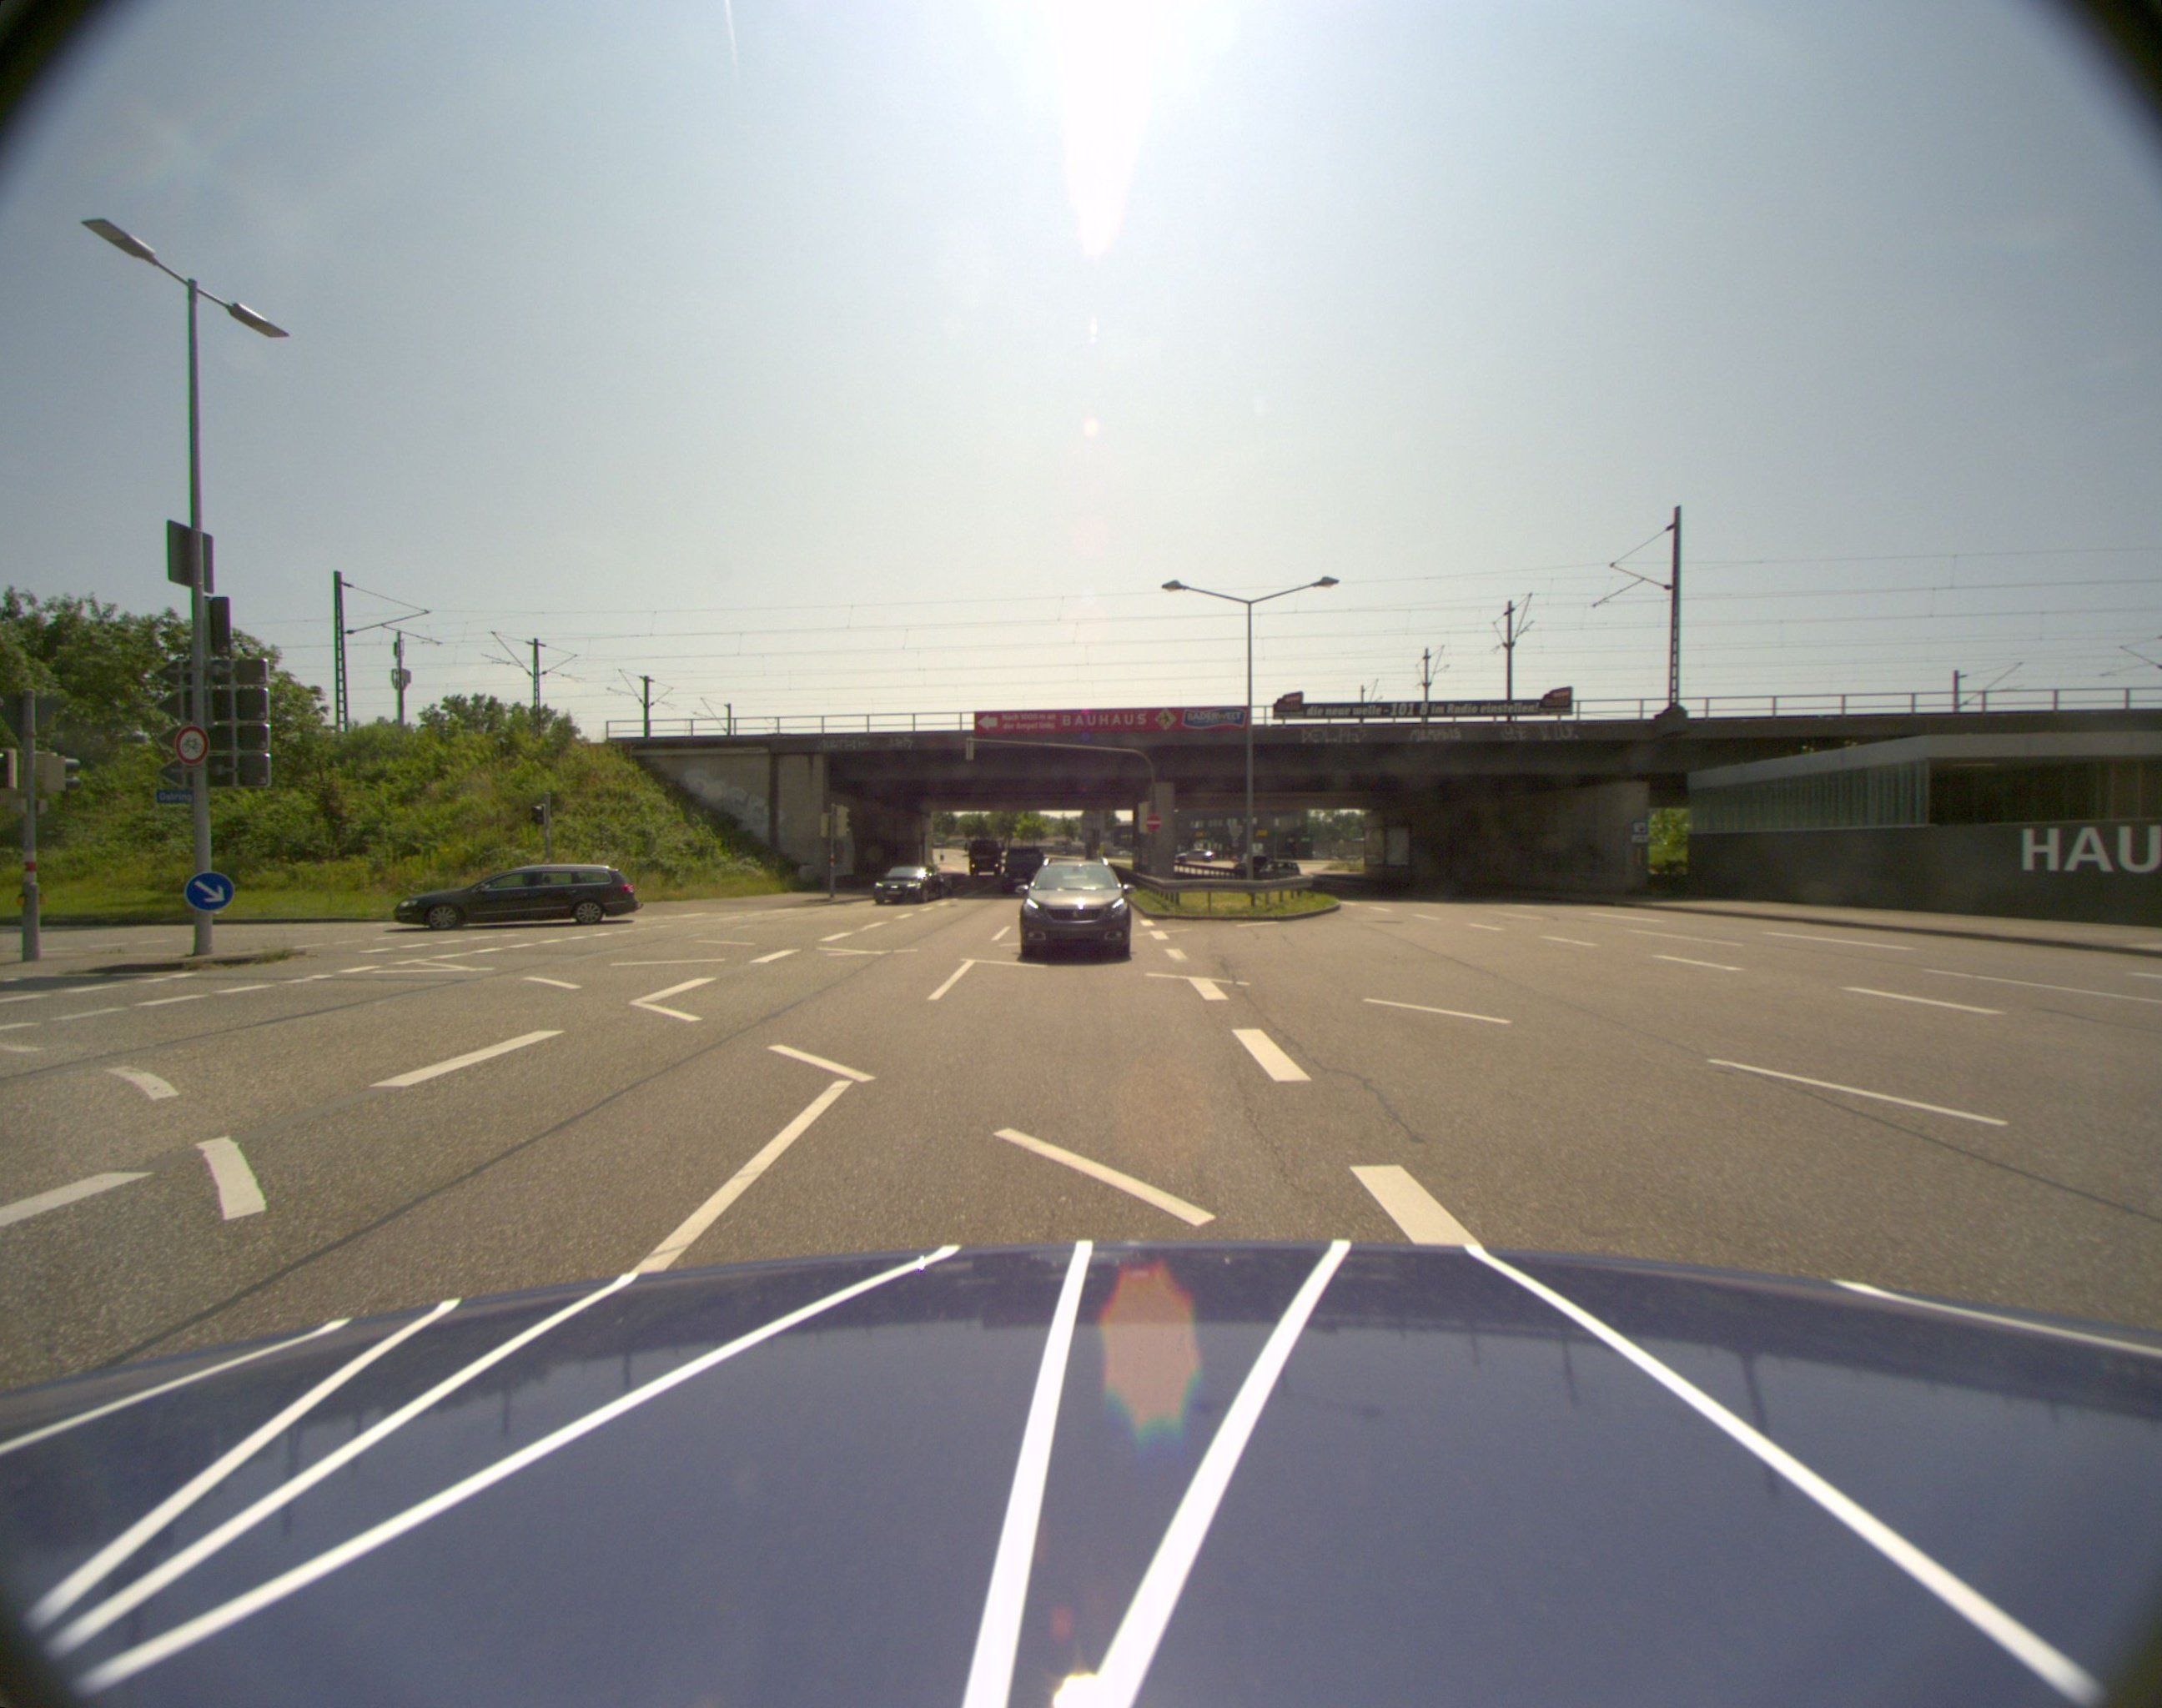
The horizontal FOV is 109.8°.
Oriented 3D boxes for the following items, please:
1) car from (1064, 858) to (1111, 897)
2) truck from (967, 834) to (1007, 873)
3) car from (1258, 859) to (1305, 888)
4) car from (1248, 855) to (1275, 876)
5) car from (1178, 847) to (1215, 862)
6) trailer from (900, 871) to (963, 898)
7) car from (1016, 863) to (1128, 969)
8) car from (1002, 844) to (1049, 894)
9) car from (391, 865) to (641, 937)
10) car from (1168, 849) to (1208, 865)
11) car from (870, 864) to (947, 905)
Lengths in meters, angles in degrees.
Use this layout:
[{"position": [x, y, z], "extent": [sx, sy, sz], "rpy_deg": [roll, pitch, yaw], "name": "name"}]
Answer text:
[{"position": [0.233, 0.928, 31.087], "extent": [1.817, 1.456, 3.999], "rpy_deg": [0, 0, -1], "name": "car"}, {"position": [-7.486, -0.035, 60.630], "extent": [2.887, 2.899, 8.511], "rpy_deg": [-1, 0, -7], "name": "truck"}, {"position": [10.942, 1.037, 41.660], "extent": [1.710, 1.442, 3.373], "rpy_deg": [0, 0, 1], "name": "car"}, {"position": [13.565, 0.834, 57.287], "extent": [1.709, 1.535, 3.375], "rpy_deg": [0, 0, 8], "name": "car"}, {"position": [13.422, 0.024, 88.031], "extent": [3.991, 1.674, 2.003], "rpy_deg": [0, 0, 17], "name": "car"}, {"position": [-6.219, 1.244, 32.019], "extent": [1.680, 0.936, 3.834], "rpy_deg": [-2, 0, 3], "name": "trailer"}, {"position": [-0.033, 0.932, 13.283], "extent": [1.619, 1.502, 4.459], "rpy_deg": [0, 0, 3], "name": "car"}, {"position": [-2.482, 0.639, 35.193], "extent": [1.841, 2.141, 4.557], "rpy_deg": [-1, 0, 0], "name": "car"}, {"position": [-13.440, 1.058, 18.489], "extent": [4.681, 1.494, 1.805], "rpy_deg": [0, 0, -31], "name": "car"}, {"position": [10.911, 0.298, 77.710], "extent": [3.995, 1.674, 2.001], "rpy_deg": [0, 0, 7], "name": "car"}, {"position": [-6.292, 1.081, 28.195], "extent": [1.808, 1.382, 3.904], "rpy_deg": [0, 0, 3], "name": "car"}]
